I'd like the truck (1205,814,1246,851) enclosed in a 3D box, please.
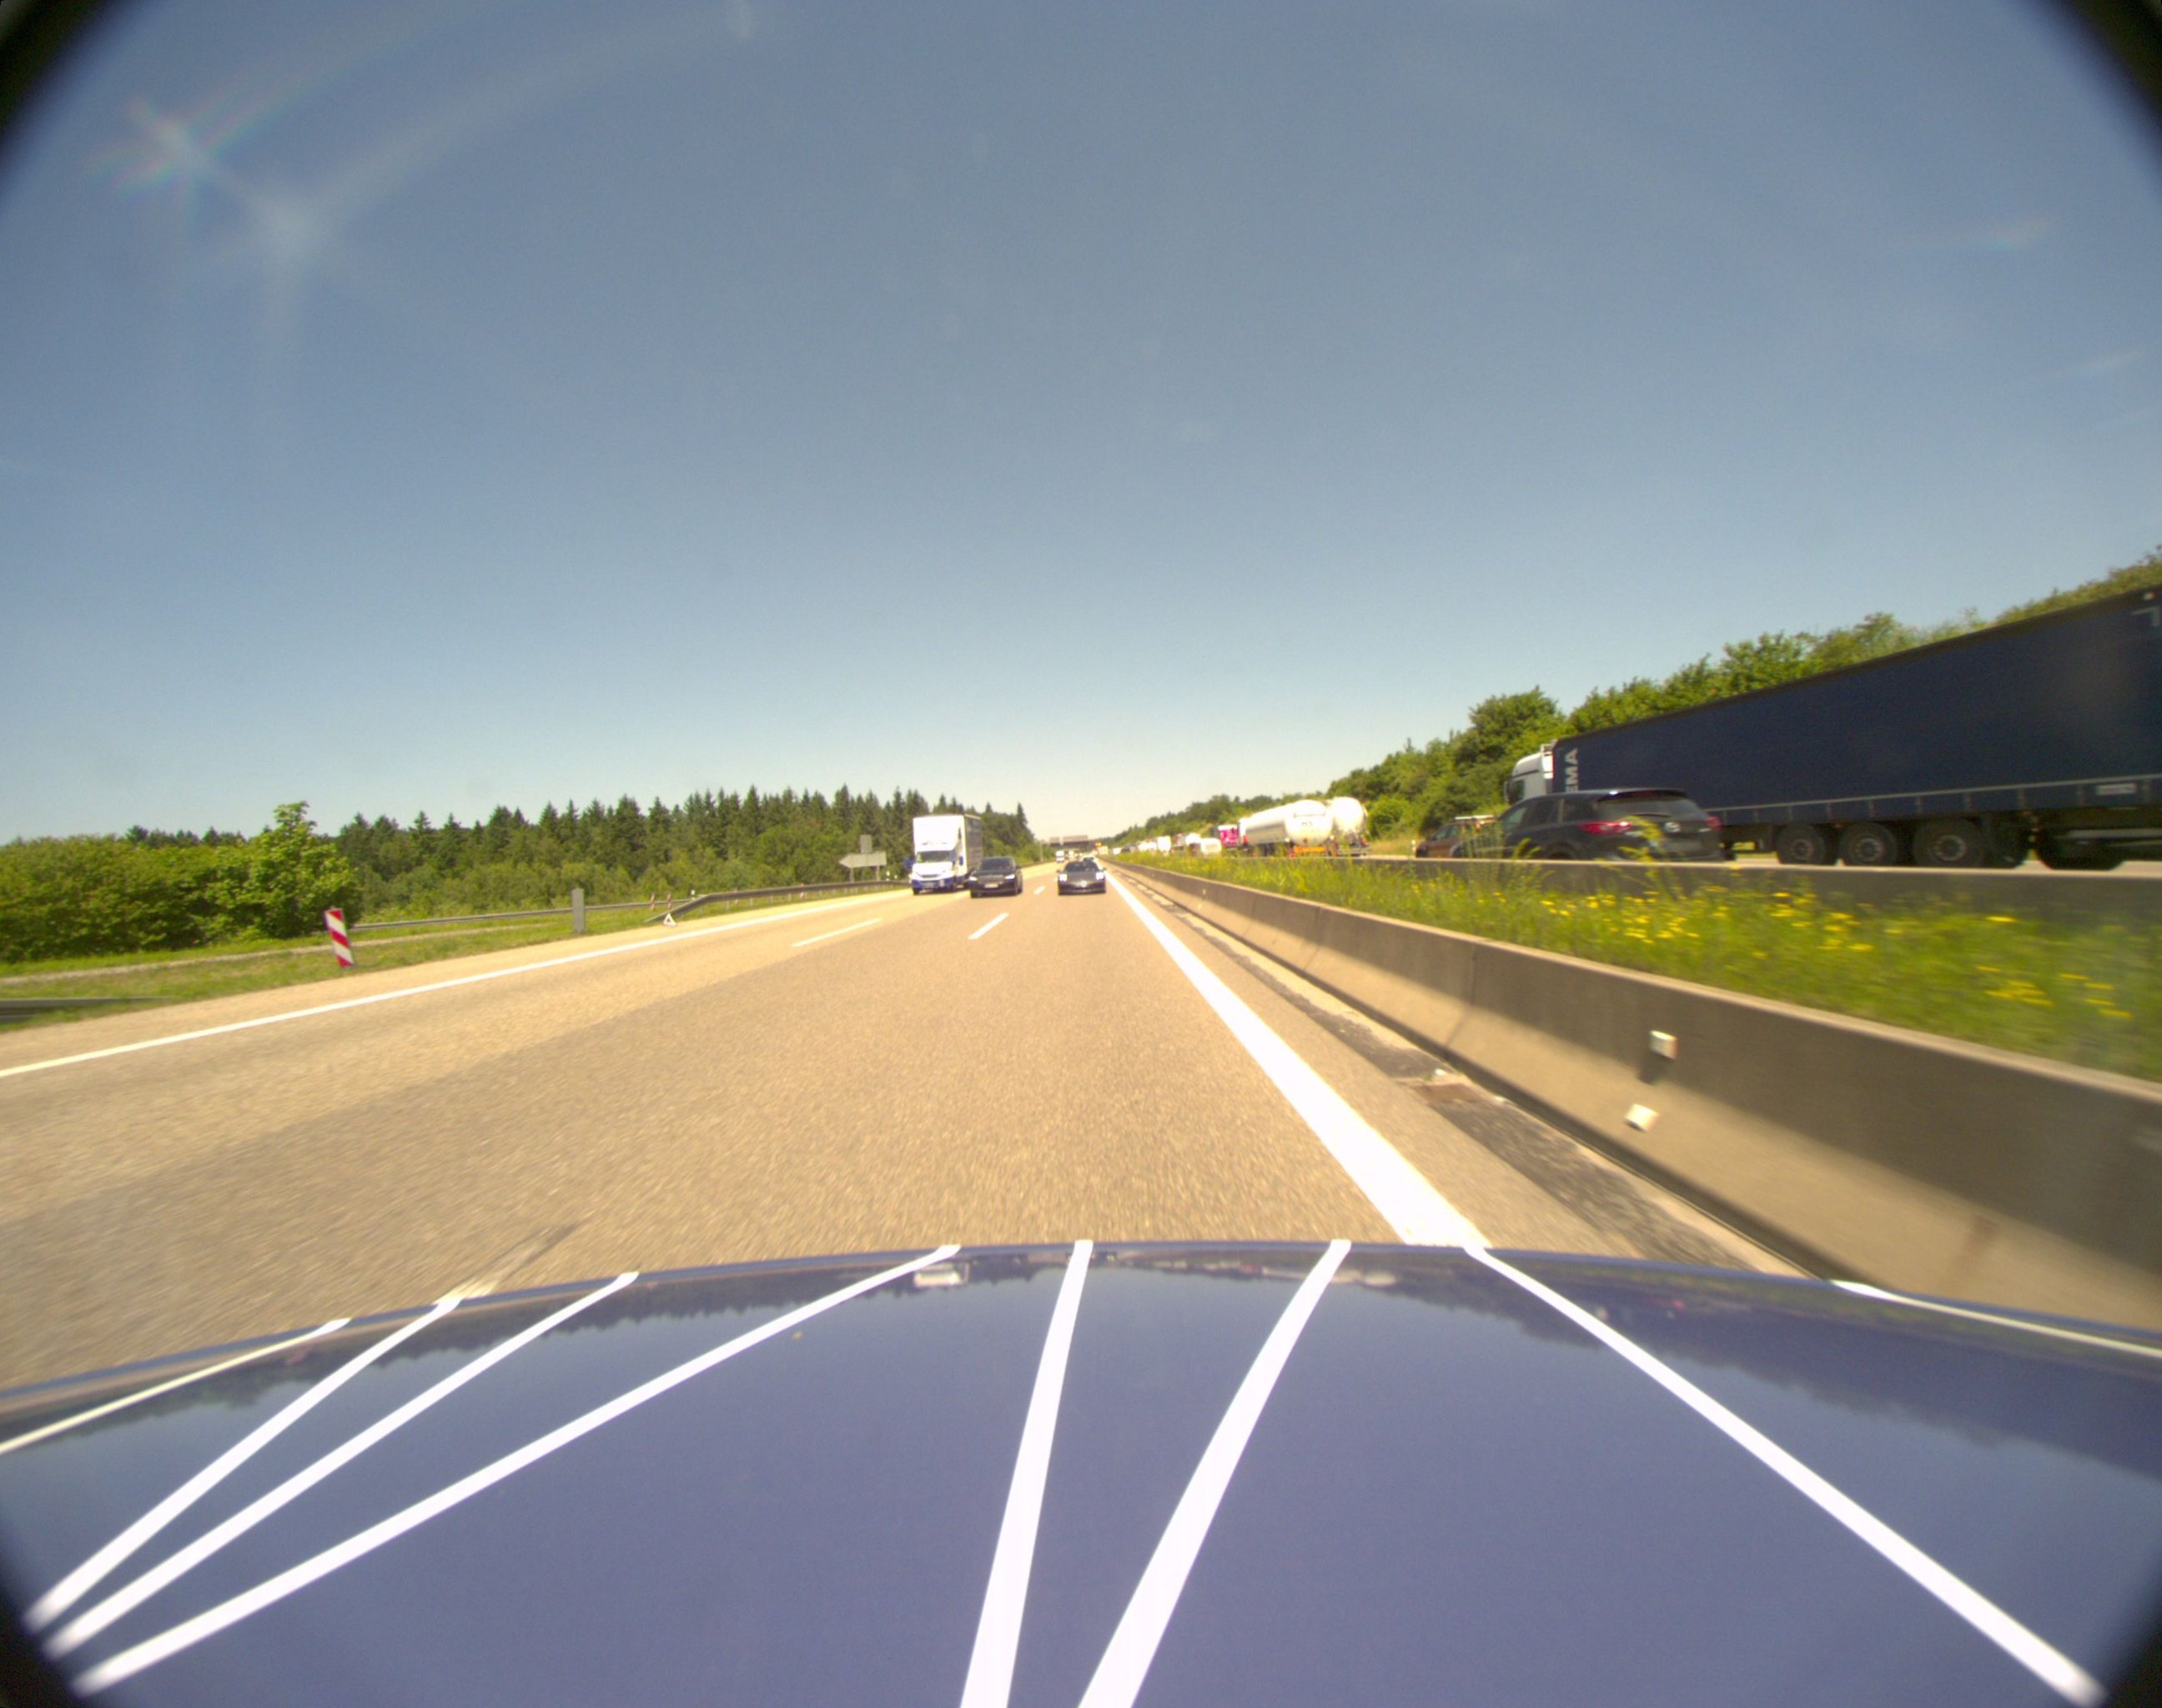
[{"bbox_3d":[16.026,-2.346,85.085,2.551,3.653,9.936,-5,1,1],"label":"truck"}]

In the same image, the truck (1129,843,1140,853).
[{"bbox_3d":[14.027,-1.516,199.159,2.240,2.491,6.861,-5,1,0],"label":"truck"}]

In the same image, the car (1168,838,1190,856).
[{"bbox_3d":[12.149,-0.874,94.840,2.028,1.947,5.094,-5,1,1],"label":"car"}]

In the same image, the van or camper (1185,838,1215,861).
[{"bbox_3d":[12.214,-0.481,78.316,1.998,2.140,5.954,-3,1,0],"label":"van or camper"}]

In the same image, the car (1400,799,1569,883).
[{"bbox_3d":[11.798,-0.363,22.740,2.091,2.051,5.057,-6,1,-2],"label":"car"}]

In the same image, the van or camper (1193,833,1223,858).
[{"bbox_3d":[12.103,-0.792,72.552,1.998,2.140,4.717,-3,1,0],"label":"van or camper"}]

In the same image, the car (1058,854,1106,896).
[{"bbox_3d":[0.079,0.796,30.641,1.718,1.432,4.457,-4,1,1],"label":"car"}]

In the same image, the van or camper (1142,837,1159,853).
[{"bbox_3d":[13.278,-1.741,145.238,2.551,2.920,8.131,-5,1,2],"label":"van or camper"}]

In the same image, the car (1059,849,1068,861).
[{"bbox_3d":[-5.140,0.332,221.927,2.303,3.317,7.620,-6,1,-1],"label":"car"}]

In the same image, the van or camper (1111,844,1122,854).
[{"bbox_3d":[9.411,-1.261,201.873,2.198,2.526,6.415,-5,1,0],"label":"van or camper"}]

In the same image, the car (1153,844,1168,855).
[{"bbox_3d":[12.690,-0.788,121.608,1.758,1.574,4.785,-5,1,1],"label":"car"}]

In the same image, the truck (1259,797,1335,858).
[{"bbox_3d":[16.031,-1.897,56.994,3.499,4.013,6.643,-6,1,1],"label":"truck"}]

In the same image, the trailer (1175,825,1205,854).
[{"bbox_3d":[16.605,-2.177,116.432,2.686,3.927,12.273,-6,1,1],"label":"trailer"}]

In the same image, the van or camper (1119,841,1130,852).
[{"bbox_3d":[12.951,-2.129,226.724,2.848,2.931,8.112,-6,1,1],"label":"van or camper"}]

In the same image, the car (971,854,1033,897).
[{"bbox_3d":[-3.246,0.895,32.005,1.989,1.609,4.458,-2,-1,1],"label":"car"}]

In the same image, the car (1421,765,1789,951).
[{"bbox_3d":[7.470,0.025,11.709,2.091,2.051,5.058,-6,1,1],"label":"car"}]

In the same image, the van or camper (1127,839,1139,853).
[{"bbox_3d":[13.945,-2.176,204.820,2.318,3.370,7.679,-5,1,0],"label":"van or camper"}]

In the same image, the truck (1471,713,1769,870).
[{"bbox_3d":[16.179,-1.666,23.938,3.518,3.887,8.145,-4,1,1],"label":"truck"}]

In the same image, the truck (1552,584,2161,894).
[{"bbox_3d":[16.133,-1.608,15.634,3.587,4.069,15.006,-3,0,1],"label":"truck"}]

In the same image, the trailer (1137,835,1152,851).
[{"bbox_3d":[17.151,-3.024,204.771,2.788,4.010,12.249,-6,1,1],"label":"trailer"}]

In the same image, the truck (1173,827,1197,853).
[{"bbox_3d":[16.694,-2.193,122.692,2.790,3.801,6.031,-6,1,1],"label":"truck"}]

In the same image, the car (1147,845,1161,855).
[{"bbox_3d":[12.824,-0.664,133.933,1.887,1.618,4.358,-5,1,1],"label":"car"}]

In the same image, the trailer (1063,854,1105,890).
[{"bbox_3d":[0.147,0.754,33.914,1.689,1.399,3.045,-4,1,1],"label":"trailer"}]

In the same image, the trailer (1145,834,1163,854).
[{"bbox_3d":[17.026,-2.405,178.642,2.618,4.285,11.999,-6,1,0],"label":"trailer"}]

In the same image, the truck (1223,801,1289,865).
[{"bbox_3d":[11.723,-1.373,51.453,2.624,3.867,7.401,-4,1,1],"label":"truck"}]

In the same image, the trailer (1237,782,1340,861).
[{"bbox_3d":[11.747,-1.747,44.428,2.686,3.927,11.643,-2,1,0],"label":"trailer"}]

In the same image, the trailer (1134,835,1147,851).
[{"bbox_3d":[17.742,-3.300,226.936,2.796,4.216,10.791,-6,1,1],"label":"trailer"}]

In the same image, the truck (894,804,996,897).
[{"bbox_3d":[-6.873,-0.230,40.233,2.789,4.104,9.741,-5,1,3],"label":"truck"}]

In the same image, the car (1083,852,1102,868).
[{"bbox_3d":[1.175,0.550,77.489,1.719,1.432,4.456,-5,1,-1],"label":"car"}]

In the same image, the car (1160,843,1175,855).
[{"bbox_3d":[12.588,-0.760,110.724,1.758,1.541,4.189,-4,1,1],"label":"car"}]

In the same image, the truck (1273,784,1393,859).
[{"bbox_3d":[15.914,-1.846,49.490,3.587,4.069,12.579,-4,0,1],"label":"truck"}]

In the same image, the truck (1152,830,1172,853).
[{"bbox_3d":[16.735,-2.513,157.169,2.527,4.300,12.421,-6,1,1],"label":"truck"}]
